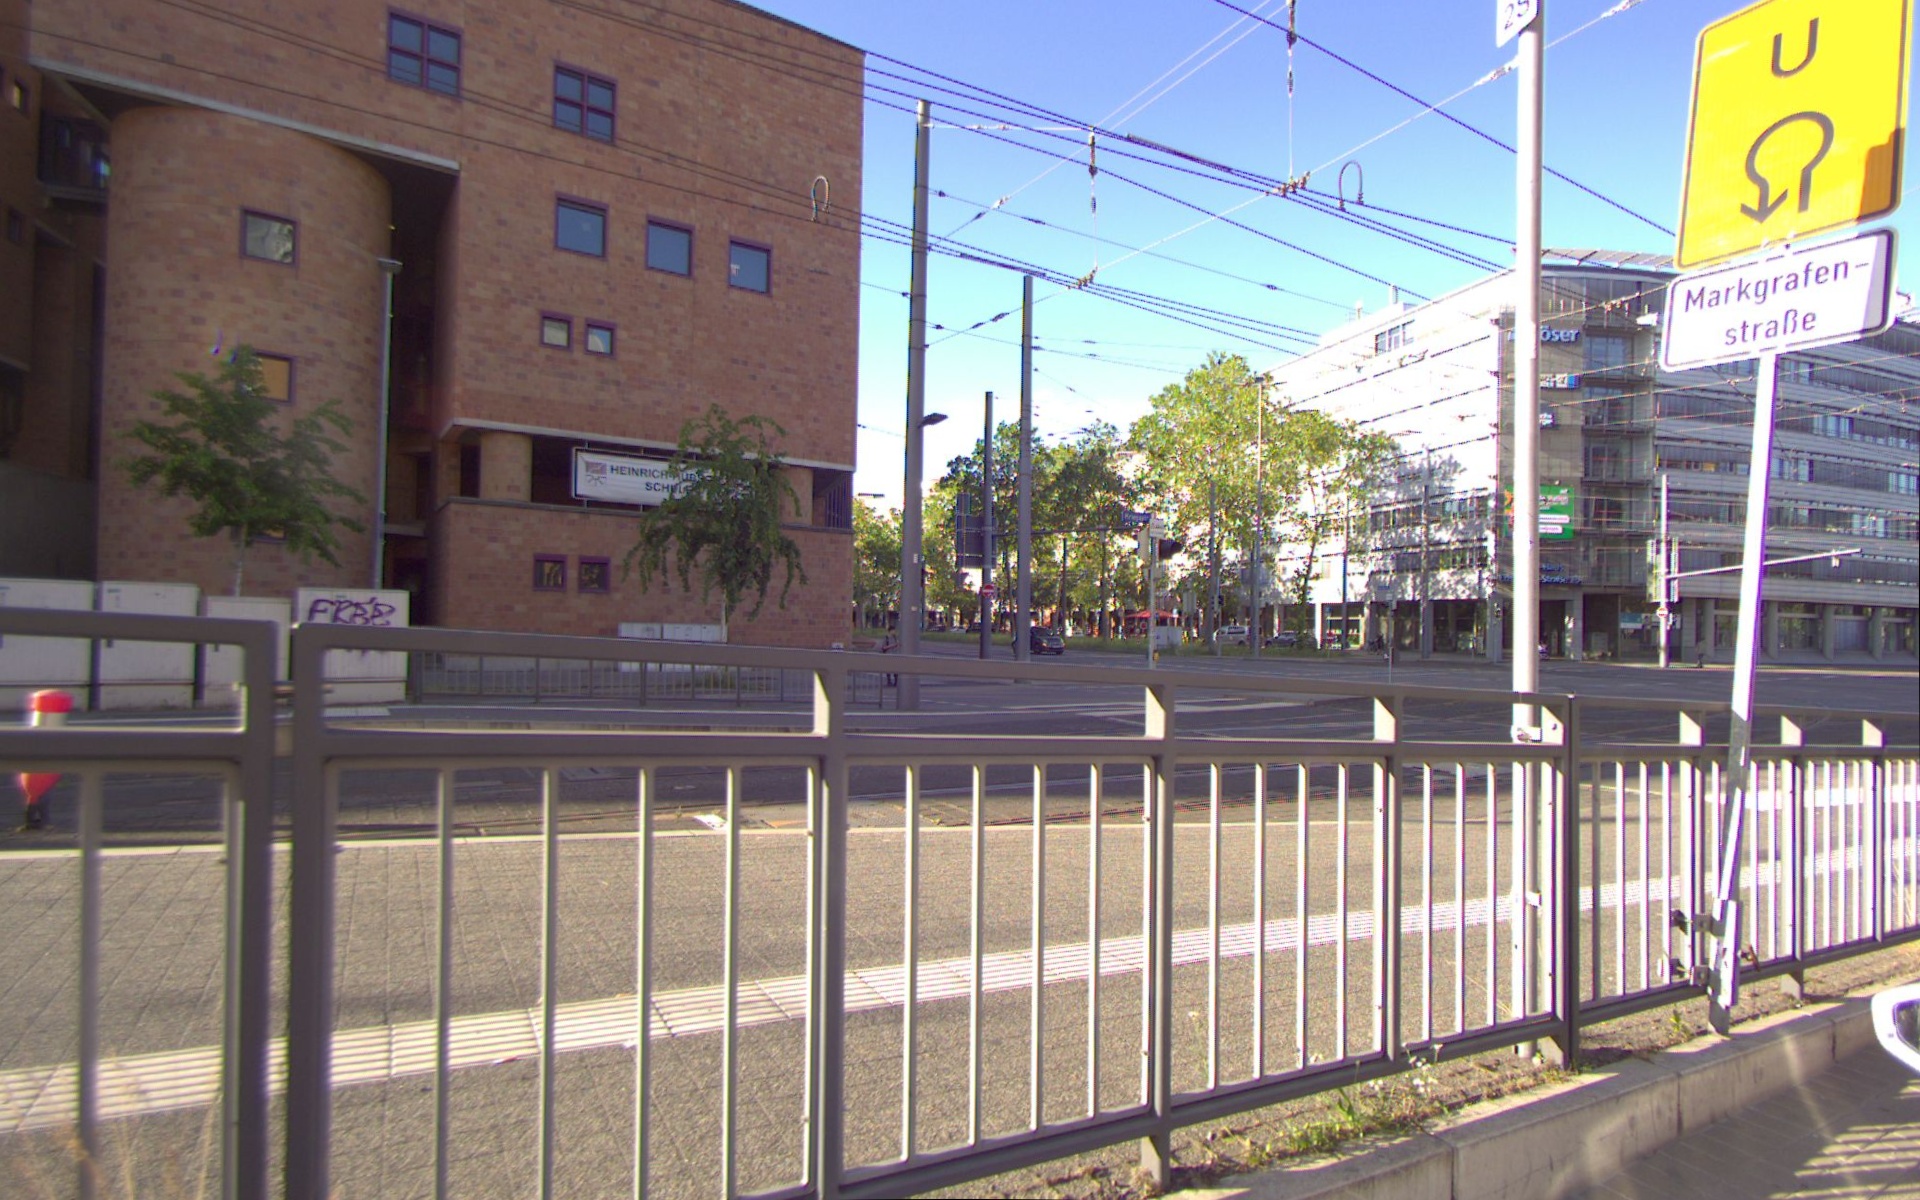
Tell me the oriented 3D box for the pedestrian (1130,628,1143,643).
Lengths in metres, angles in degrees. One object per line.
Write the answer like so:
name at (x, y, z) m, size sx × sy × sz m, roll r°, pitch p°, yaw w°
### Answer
pedestrian at (18.757, 3.799, 106.839) m, size 0.861 × 1.567 × 0.987 m, roll 2°, pitch -1°, yaw -26°

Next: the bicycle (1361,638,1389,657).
bicycle at (28.627, 3.263, 69.277) m, size 0.605 × 1.179 × 1.834 m, roll -2°, pitch 1°, yaw -27°

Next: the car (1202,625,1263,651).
car at (21.591, 2.988, 79.788) m, size 1.904 × 1.868 × 4.889 m, roll -1°, pitch 0°, yaw -28°

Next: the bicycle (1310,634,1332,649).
bicycle at (28.013, 3.222, 77.940) m, size 1.812 × 1.167 × 0.467 m, roll 0°, pitch 0°, yaw -23°

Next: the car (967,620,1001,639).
car at (2.769, 3.390, 116.102) m, size 2.011 × 2.003 × 4.381 m, roll 1°, pitch -1°, yaw -29°

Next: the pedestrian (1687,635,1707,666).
pedestrian at (45.598, 3.117, 62.135) m, size 0.874 × 1.847 × 0.672 m, roll 2°, pitch -3°, yaw -29°

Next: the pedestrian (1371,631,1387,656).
pedestrian at (28.976, 3.001, 69.415) m, size 0.599 × 1.633 × 0.831 m, roll -2°, pitch 2°, yaw -29°

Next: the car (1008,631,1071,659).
car at (4.309, 2.459, 55.050) m, size 1.637 × 1.346 × 3.591 m, roll 2°, pitch 0°, yaw -31°

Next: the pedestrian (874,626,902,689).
pedestrian at (-1.922, 1.527, 26.727) m, size 0.501 × 1.638 × 0.504 m, roll 2°, pitch 0°, yaw -40°

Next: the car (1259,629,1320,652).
car at (24.560, 2.992, 74.953) m, size 1.840 × 1.594 × 4.387 m, roll -1°, pitch 0°, yaw -25°

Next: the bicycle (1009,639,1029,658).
bicycle at (3.020, 2.482, 51.407) m, size 0.528 × 0.925 × 1.564 m, roll 2°, pitch -1°, yaw -16°

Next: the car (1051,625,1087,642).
car at (10.943, 3.321, 100.780) m, size 1.840 × 1.660 × 3.844 m, roll 1°, pitch -1°, yaw -25°

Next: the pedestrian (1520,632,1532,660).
pedestrian at (36.180, 2.945, 64.236) m, size 0.627 × 1.731 × 0.580 m, roll 1°, pitch -1°, yaw 31°

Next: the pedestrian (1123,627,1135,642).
pedestrian at (18.165, 3.708, 108.023) m, size 0.860 × 1.567 × 0.989 m, roll 2°, pitch -1°, yaw -22°

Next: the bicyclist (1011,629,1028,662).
bicyclist at (3.031, 2.307, 51.422) m, size 0.614 × 1.643 × 0.812 m, roll 2°, pitch -1°, yaw -16°

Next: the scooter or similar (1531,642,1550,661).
scooter or similar at (36.871, 3.249, 63.790) m, size 1.001 × 1.144 × 0.549 m, roll 0°, pitch -1°, yaw 32°
